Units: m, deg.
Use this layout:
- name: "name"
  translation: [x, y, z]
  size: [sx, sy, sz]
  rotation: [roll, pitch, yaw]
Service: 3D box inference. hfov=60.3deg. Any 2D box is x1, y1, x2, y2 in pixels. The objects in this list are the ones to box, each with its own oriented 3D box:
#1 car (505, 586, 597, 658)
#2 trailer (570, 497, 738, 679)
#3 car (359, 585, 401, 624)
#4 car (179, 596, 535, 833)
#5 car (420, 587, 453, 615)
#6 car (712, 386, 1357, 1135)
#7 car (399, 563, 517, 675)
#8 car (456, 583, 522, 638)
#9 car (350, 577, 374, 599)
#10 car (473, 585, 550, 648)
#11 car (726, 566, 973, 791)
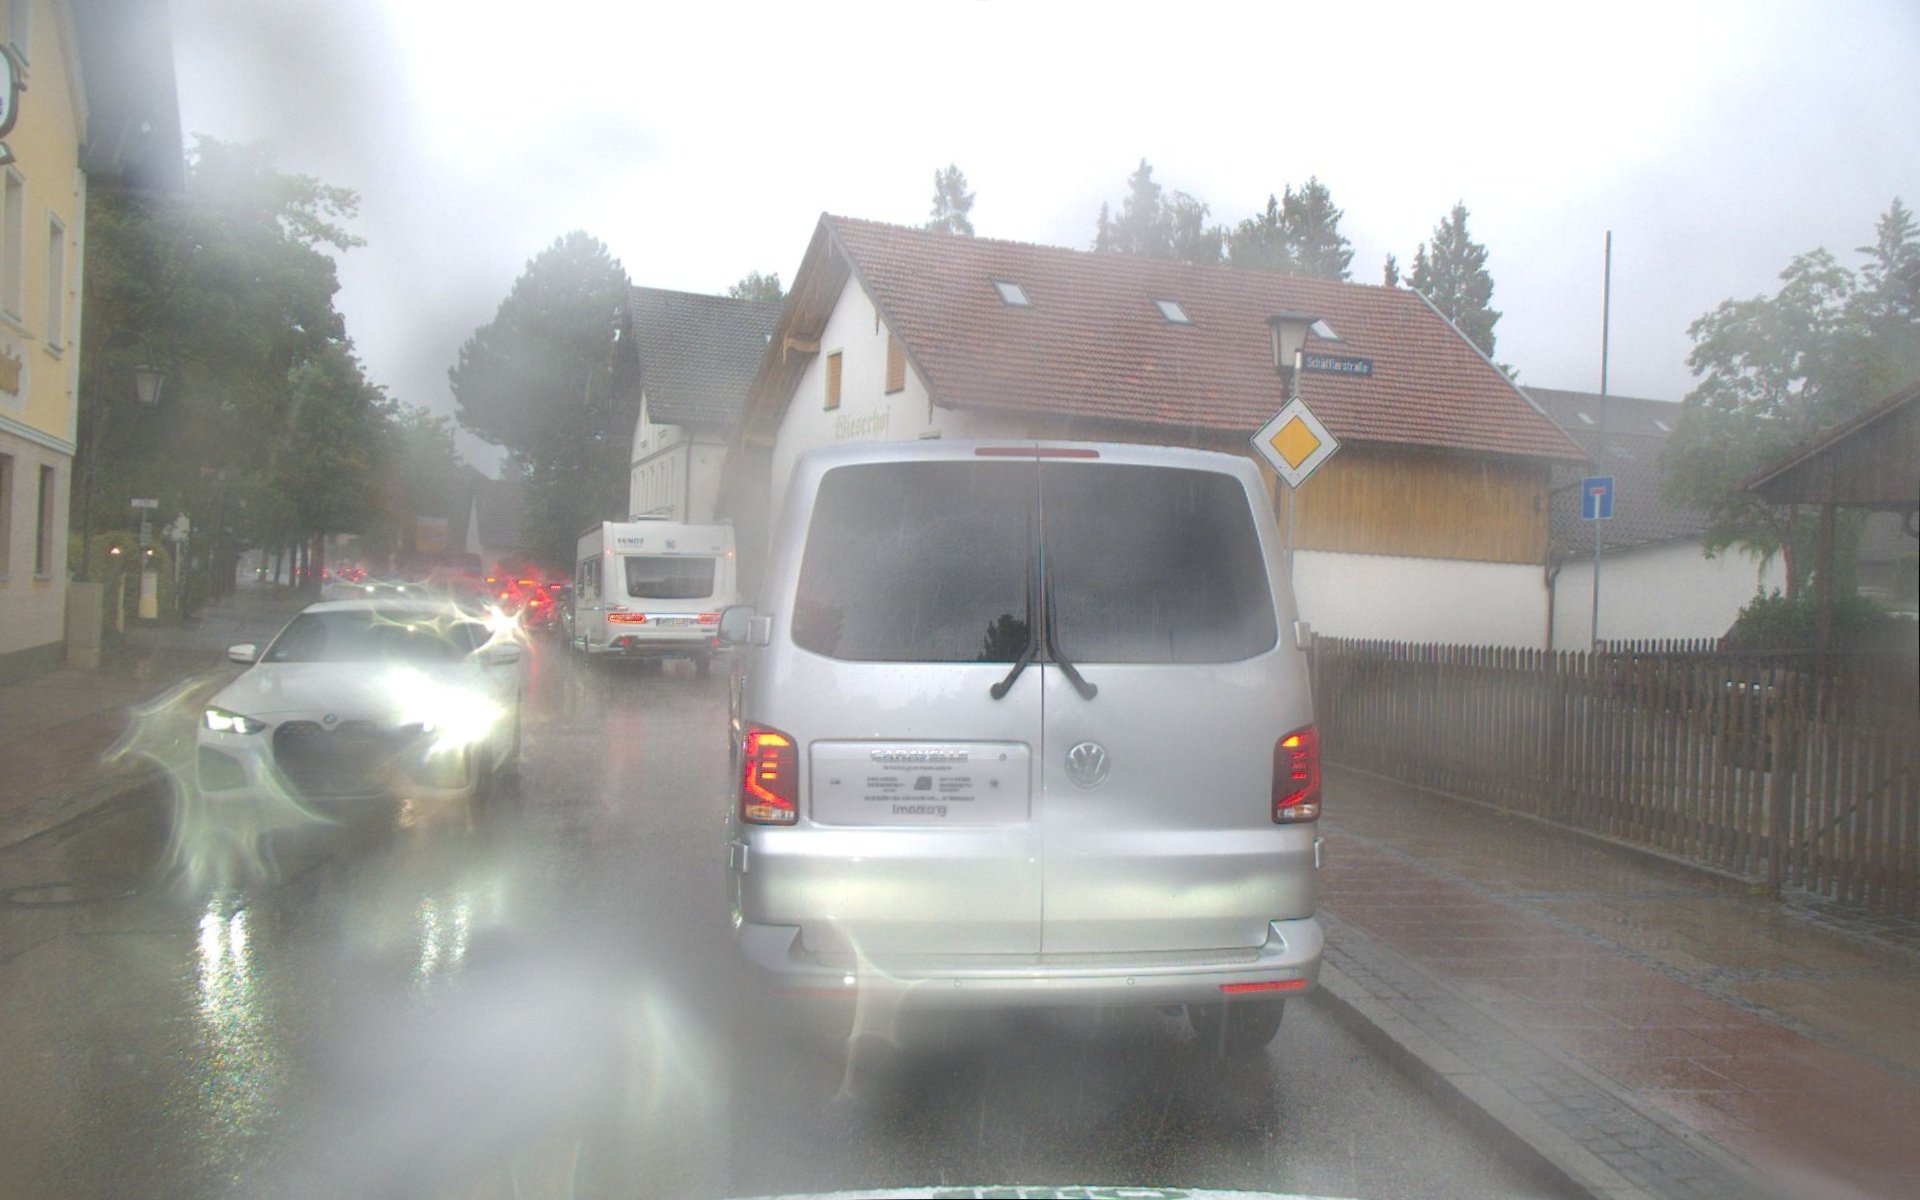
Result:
- name: "car"
  translation: [-12.445, 0.627, 50.089]
  size: [2.137, 1.932, 4.985]
  rotation: [3, 0, -20]
- name: "trailer"
  translation: [-5.726, -0.197, 30.226]
  size: [2.235, 2.955, 6.101]
  rotation: [1, 0, -18]
- name: "car"
  translation: [-28.330, 0.176, 80.756]
  size: [1.834, 1.788, 4.458]
  rotation: [-2, 1, -19]
- name: "car"
  translation: [-4.232, 0.688, 12.316]
  size: [1.829, 1.382, 4.470]
  rotation: [0, 1, -12]
- name: "car"
  translation: [-39.948, 0.050, 126.161]
  size: [2.137, 1.932, 4.985]
  rotation: [3, 0, -20]
- name: "car"
  translation: [0.047, 0.439, 7.012]
  size: [1.741, 1.997, 5.070]
  rotation: [1, 0, -4]
- name: "car"
  translation: [-8.990, 0.285, 29.476]
  size: [1.834, 1.788, 4.459]
  rotation: [-2, 1, -18]
- name: "car"
  translation: [-18.862, 0.385, 66.097]
  size: [2.137, 1.932, 4.985]
  rotation: [3, 0, -20]
- name: "car"
  translation: [-50.733, -1.033, 140.288]
  size: [1.834, 1.788, 4.458]
  rotation: [-2, 1, -19]
- name: "car"
  translation: [-15.818, 0.541, 58.176]
  size: [2.137, 1.932, 4.985]
  rotation: [3, 0, -20]
- name: "car"
  translation: [-1.124, 0.528, 14.399]
  size: [1.677, 1.611, 4.675]
  rotation: [-1, 1, -10]
